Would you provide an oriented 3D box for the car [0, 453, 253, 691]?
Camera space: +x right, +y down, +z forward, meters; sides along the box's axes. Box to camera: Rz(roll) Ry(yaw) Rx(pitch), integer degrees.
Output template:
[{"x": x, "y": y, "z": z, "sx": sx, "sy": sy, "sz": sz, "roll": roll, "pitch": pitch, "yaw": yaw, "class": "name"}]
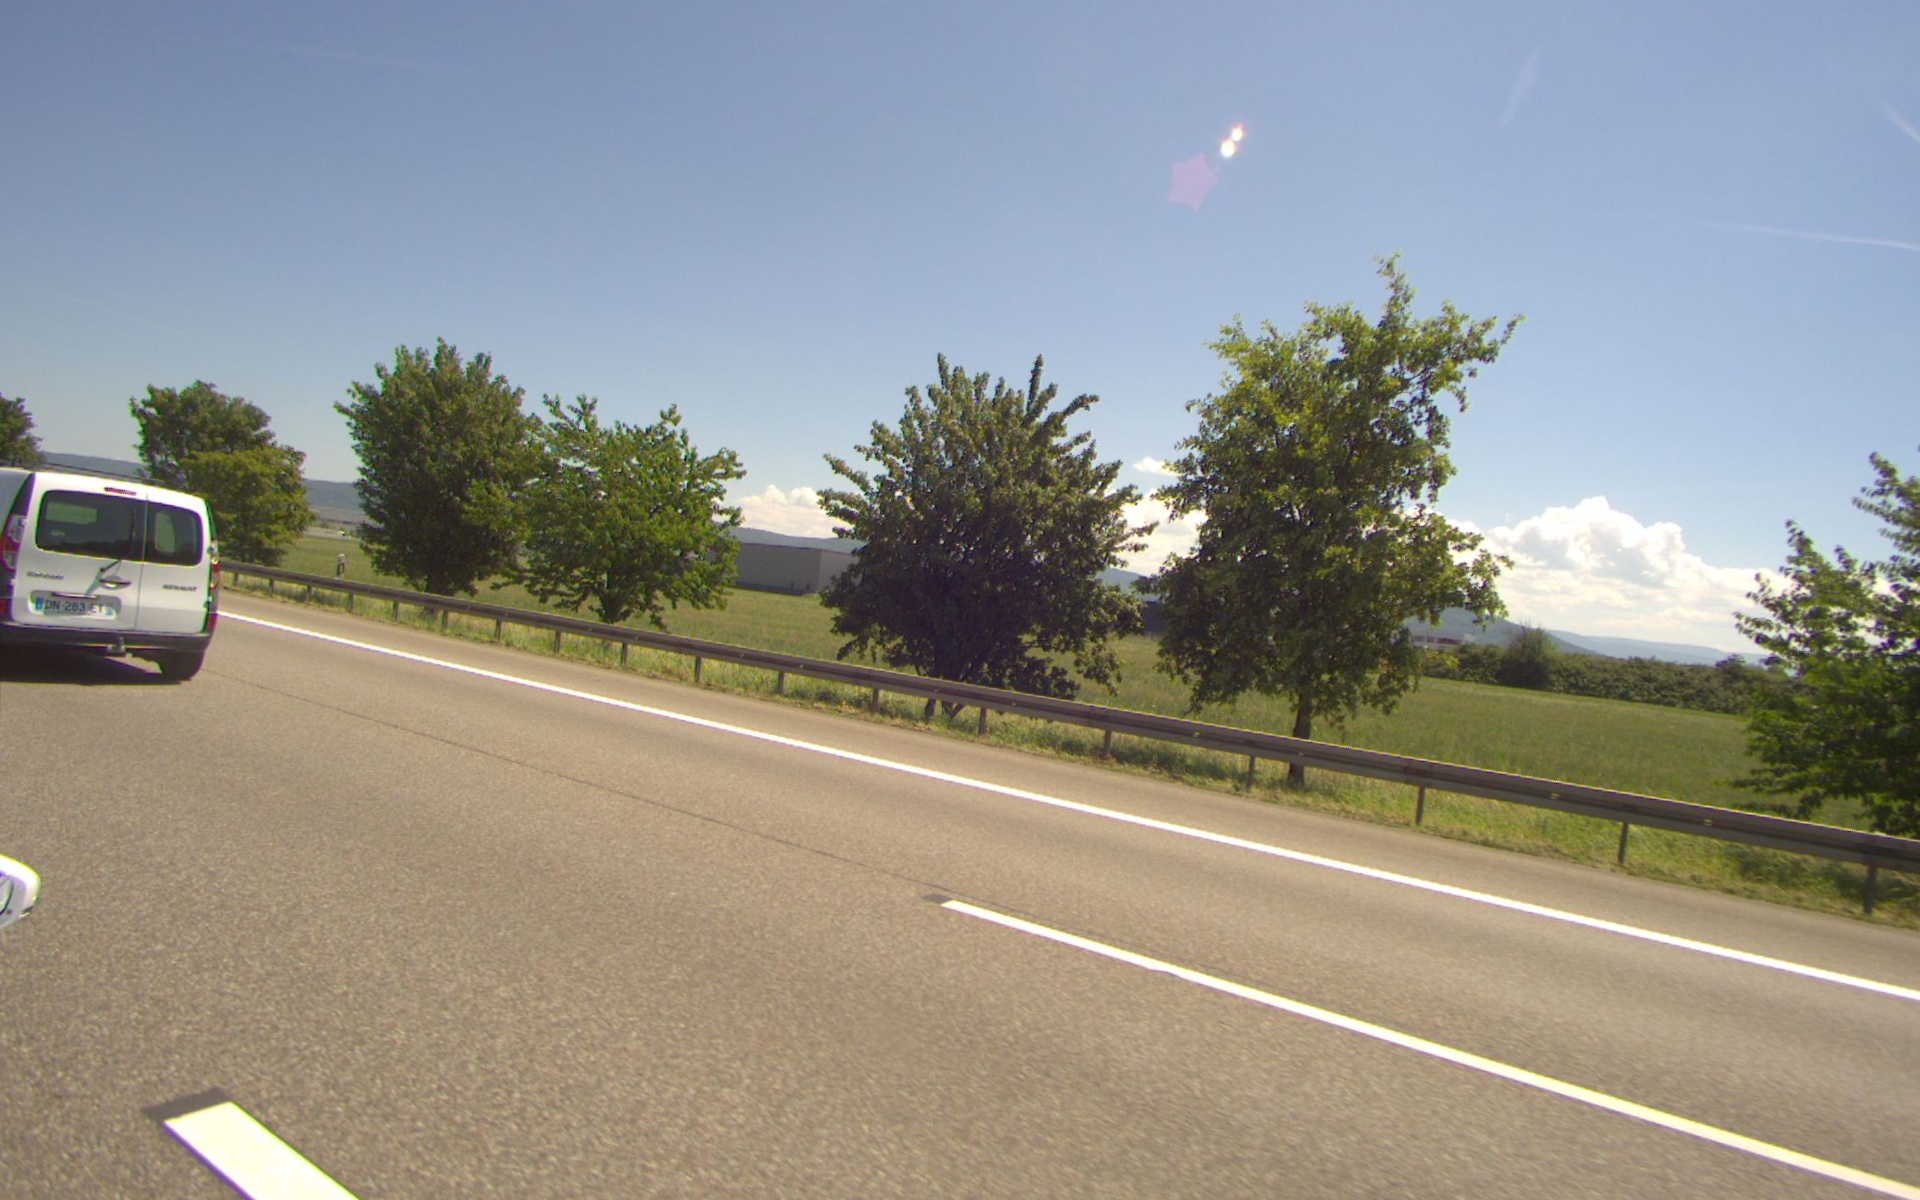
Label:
[{"x": -9.301, "y": -0.377, "z": 10.035, "sx": 4.624, "sy": 1.884, "sz": 1.856, "roll": 6, "pitch": -1, "yaw": 32, "class": "car"}]
